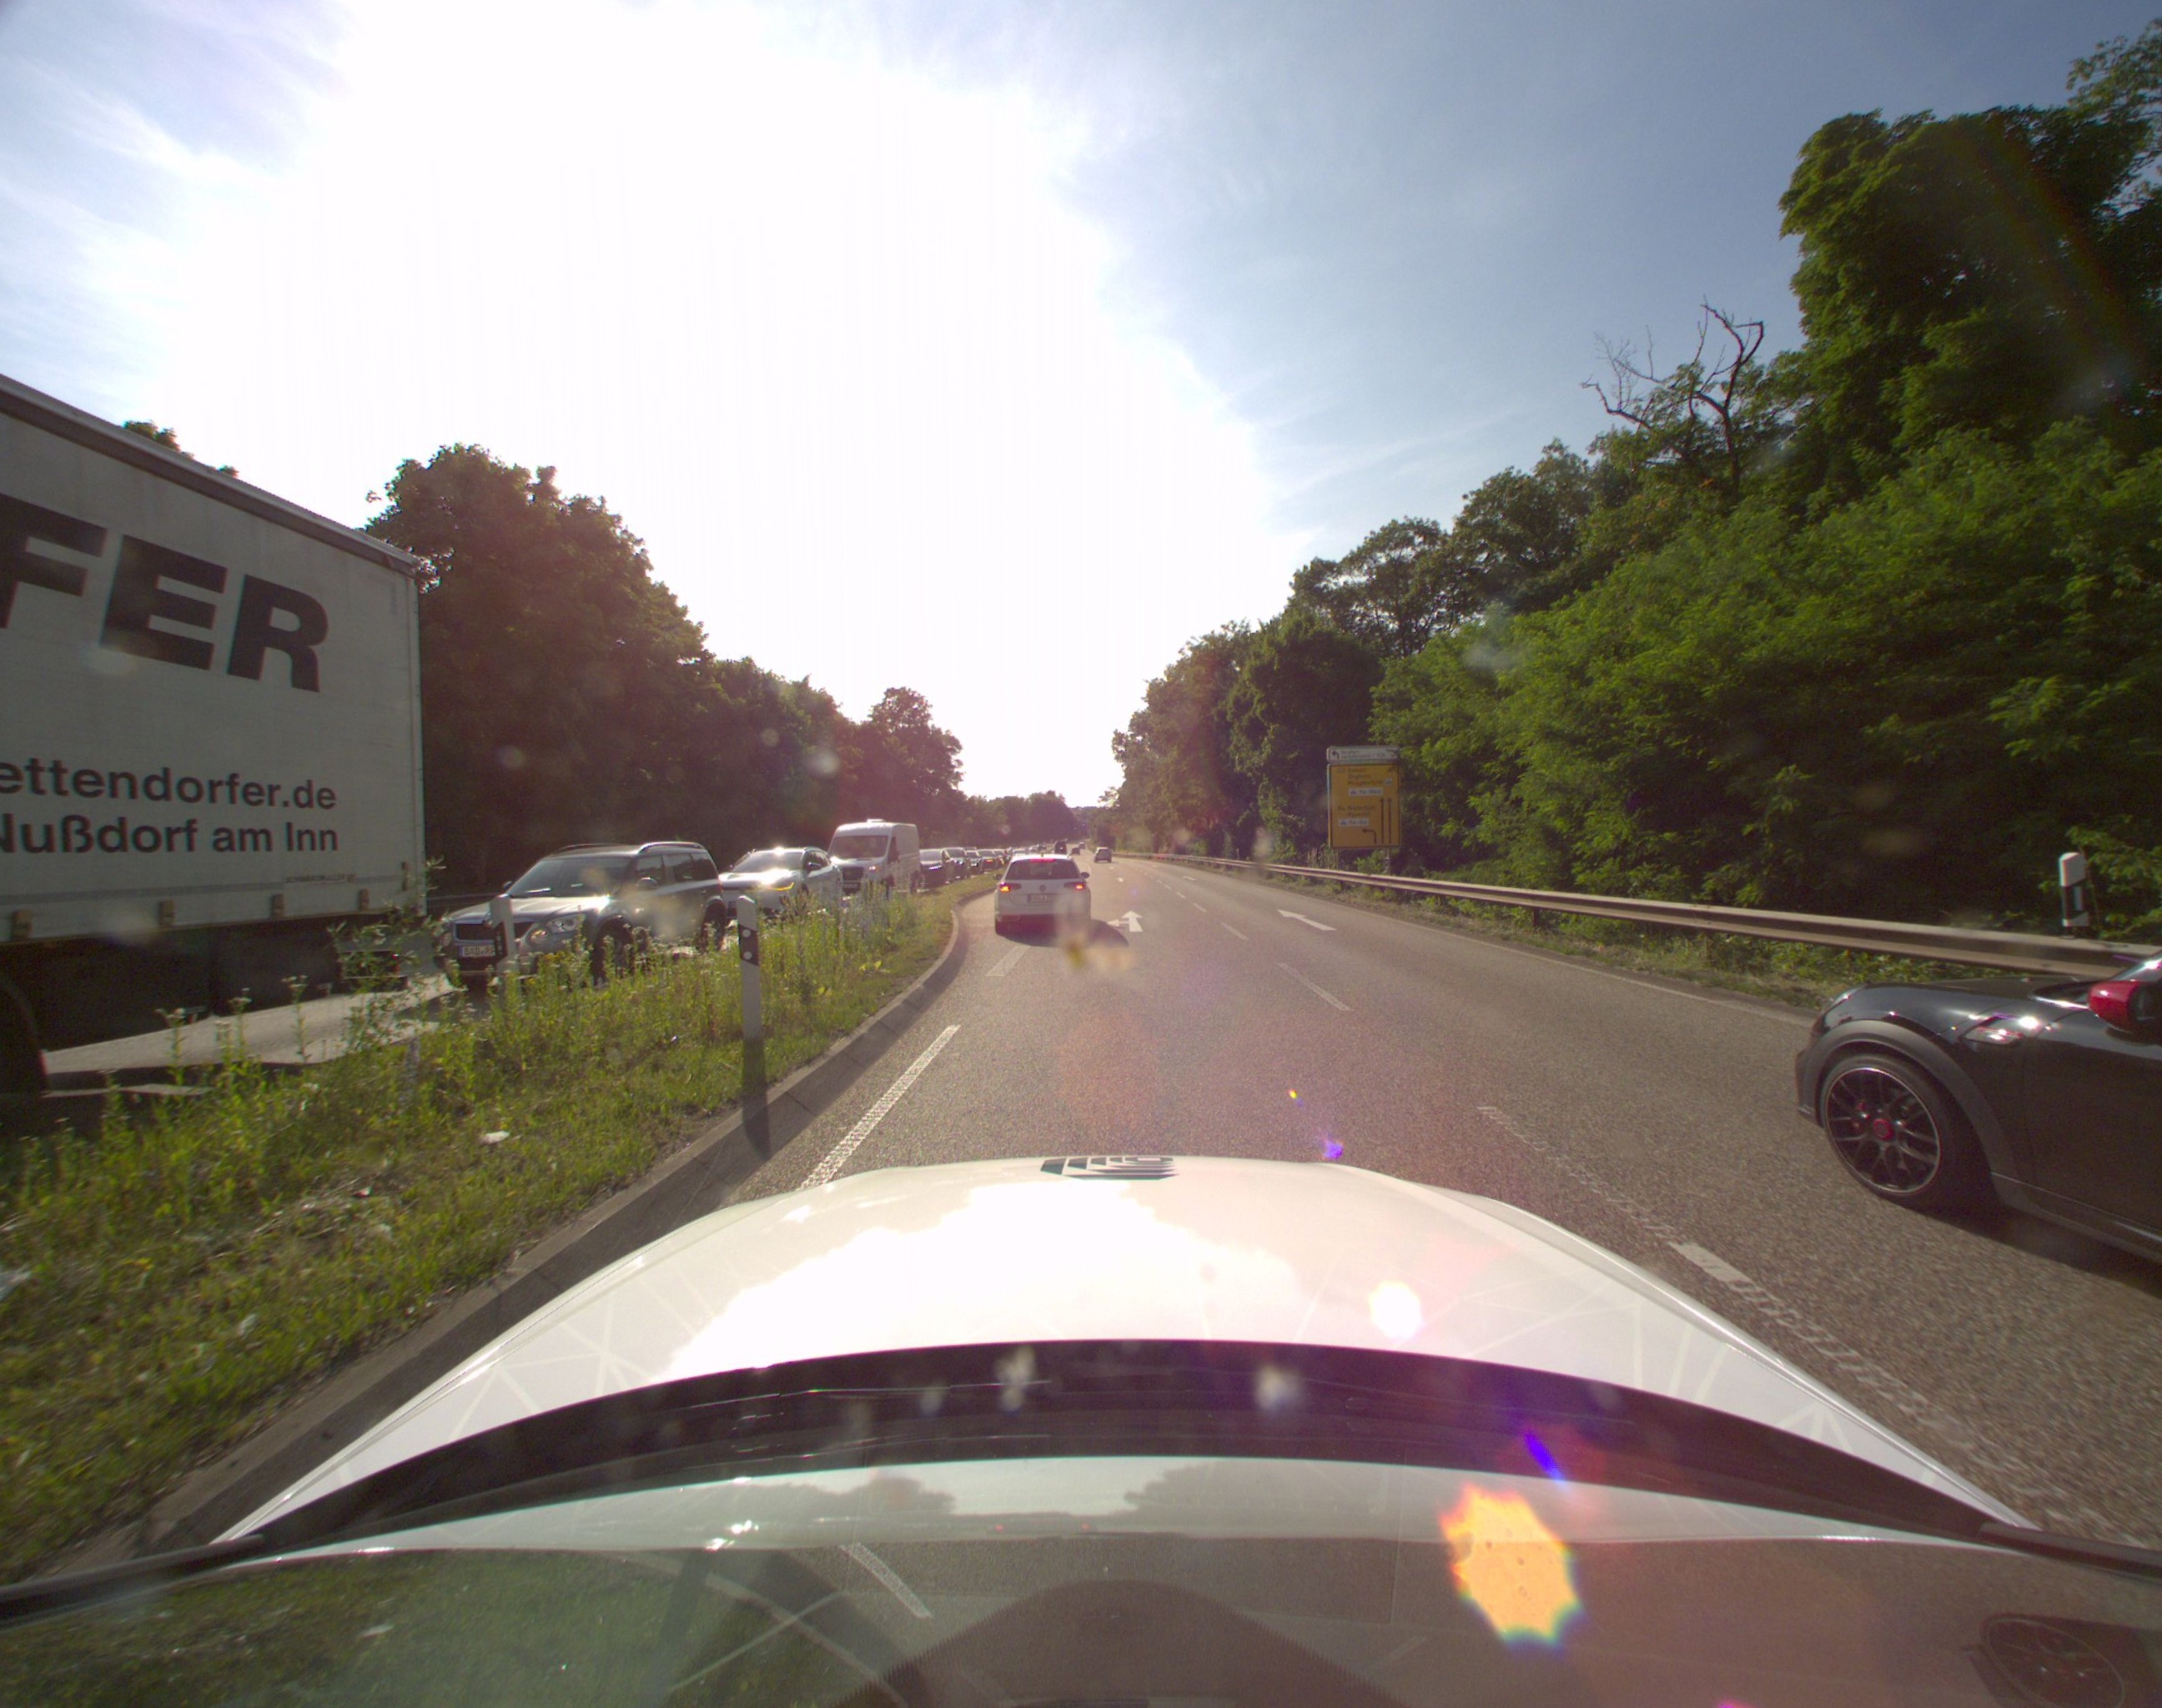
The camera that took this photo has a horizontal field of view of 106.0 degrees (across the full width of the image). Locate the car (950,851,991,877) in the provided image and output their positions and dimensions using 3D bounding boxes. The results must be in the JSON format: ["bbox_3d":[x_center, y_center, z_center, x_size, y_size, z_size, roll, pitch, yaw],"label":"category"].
[{"bbox_3d":[-6.595,0.583,49.176,1.765,1.379,4.843,-2,1,0],"label":"car"}]

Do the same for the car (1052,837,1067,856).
[{"bbox_3d":[-3.404,-1.279,131.061,2.203,2.888,7.010,-2,1,0],"label":"car"}]

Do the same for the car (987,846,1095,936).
[{"bbox_3d":[-0.756,0.631,16.635,1.865,1.521,4.831,1,1,-2],"label":"car"}]

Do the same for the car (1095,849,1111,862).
[{"bbox_3d":[2.510,0.113,91.977,1.755,1.380,3.972,0,1,1],"label":"car"}]

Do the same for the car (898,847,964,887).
[{"bbox_3d":[-6.233,0.493,34.364,1.754,1.456,5.185,-2,1,0],"label":"car"}]

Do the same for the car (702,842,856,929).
[{"bbox_3d":[-6.496,0.577,18.135,1.695,1.631,4.745,-2,1,-1],"label":"car"}]

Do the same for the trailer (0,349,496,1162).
[{"bbox_3d":[-6.710,-0.395,0.230,2.983,3.995,14.008,-3,1,-1],"label":"trailer"}]

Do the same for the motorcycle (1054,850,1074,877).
[{"bbox_3d":[-0.966,0.543,47.681,0.905,1.453,2.690,-4,1,2],"label":"motorcycle"}]

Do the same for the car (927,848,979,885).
[{"bbox_3d":[-6.400,0.564,41.163,1.765,1.669,4.800,-2,1,0],"label":"car"}]

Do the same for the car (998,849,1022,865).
[{"bbox_3d":[-6.554,0.261,75.372,1.761,1.417,4.434,-2,1,0],"label":"car"}]

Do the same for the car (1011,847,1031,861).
[{"bbox_3d":[-6.646,0.004,90.668,1.862,1.417,4.415,-2,1,0],"label":"car"}]

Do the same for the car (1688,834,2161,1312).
[{"bbox_3d":[4.231,0.681,2.513,1.814,1.467,3.872,1,1,-1],"label":"car"}]

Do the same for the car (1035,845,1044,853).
[{"bbox_3d":[-10.249,-1.161,199.579,2.071,1.763,4.752,-2,1,-3],"label":"car"}]

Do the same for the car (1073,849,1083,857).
[{"bbox_3d":[-0.590,-0.232,161.401,1.741,1.537,3.920,1,1,-4],"label":"car"}]

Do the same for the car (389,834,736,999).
[{"bbox_3d":[-6.237,0.608,10.538,1.695,1.631,4.368,-2,1,-1],"label":"car"}]

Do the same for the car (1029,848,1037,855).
[{"bbox_3d":[-10.583,-0.608,180.693,1.784,1.411,4.223,1,1,-3],"label":"car"}]

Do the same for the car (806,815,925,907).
[{"bbox_3d":[-6.631,0.154,25.944,2.068,2.533,6.163,-2,1,0],"label":"car"}]

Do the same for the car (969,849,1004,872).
[{"bbox_3d":[-6.511,0.383,56.457,1.765,1.423,5.192,-2,1,0],"label":"car"}]

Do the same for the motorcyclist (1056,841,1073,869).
[{"bbox_3d":[-0.961,0.046,47.761,0.880,1.616,1.291,1,1,2],"label":"motorcyclist"}]

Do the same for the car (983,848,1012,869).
[{"bbox_3d":[-6.474,0.324,63.457,1.701,1.423,4.211,-2,1,0],"label":"car"}]
